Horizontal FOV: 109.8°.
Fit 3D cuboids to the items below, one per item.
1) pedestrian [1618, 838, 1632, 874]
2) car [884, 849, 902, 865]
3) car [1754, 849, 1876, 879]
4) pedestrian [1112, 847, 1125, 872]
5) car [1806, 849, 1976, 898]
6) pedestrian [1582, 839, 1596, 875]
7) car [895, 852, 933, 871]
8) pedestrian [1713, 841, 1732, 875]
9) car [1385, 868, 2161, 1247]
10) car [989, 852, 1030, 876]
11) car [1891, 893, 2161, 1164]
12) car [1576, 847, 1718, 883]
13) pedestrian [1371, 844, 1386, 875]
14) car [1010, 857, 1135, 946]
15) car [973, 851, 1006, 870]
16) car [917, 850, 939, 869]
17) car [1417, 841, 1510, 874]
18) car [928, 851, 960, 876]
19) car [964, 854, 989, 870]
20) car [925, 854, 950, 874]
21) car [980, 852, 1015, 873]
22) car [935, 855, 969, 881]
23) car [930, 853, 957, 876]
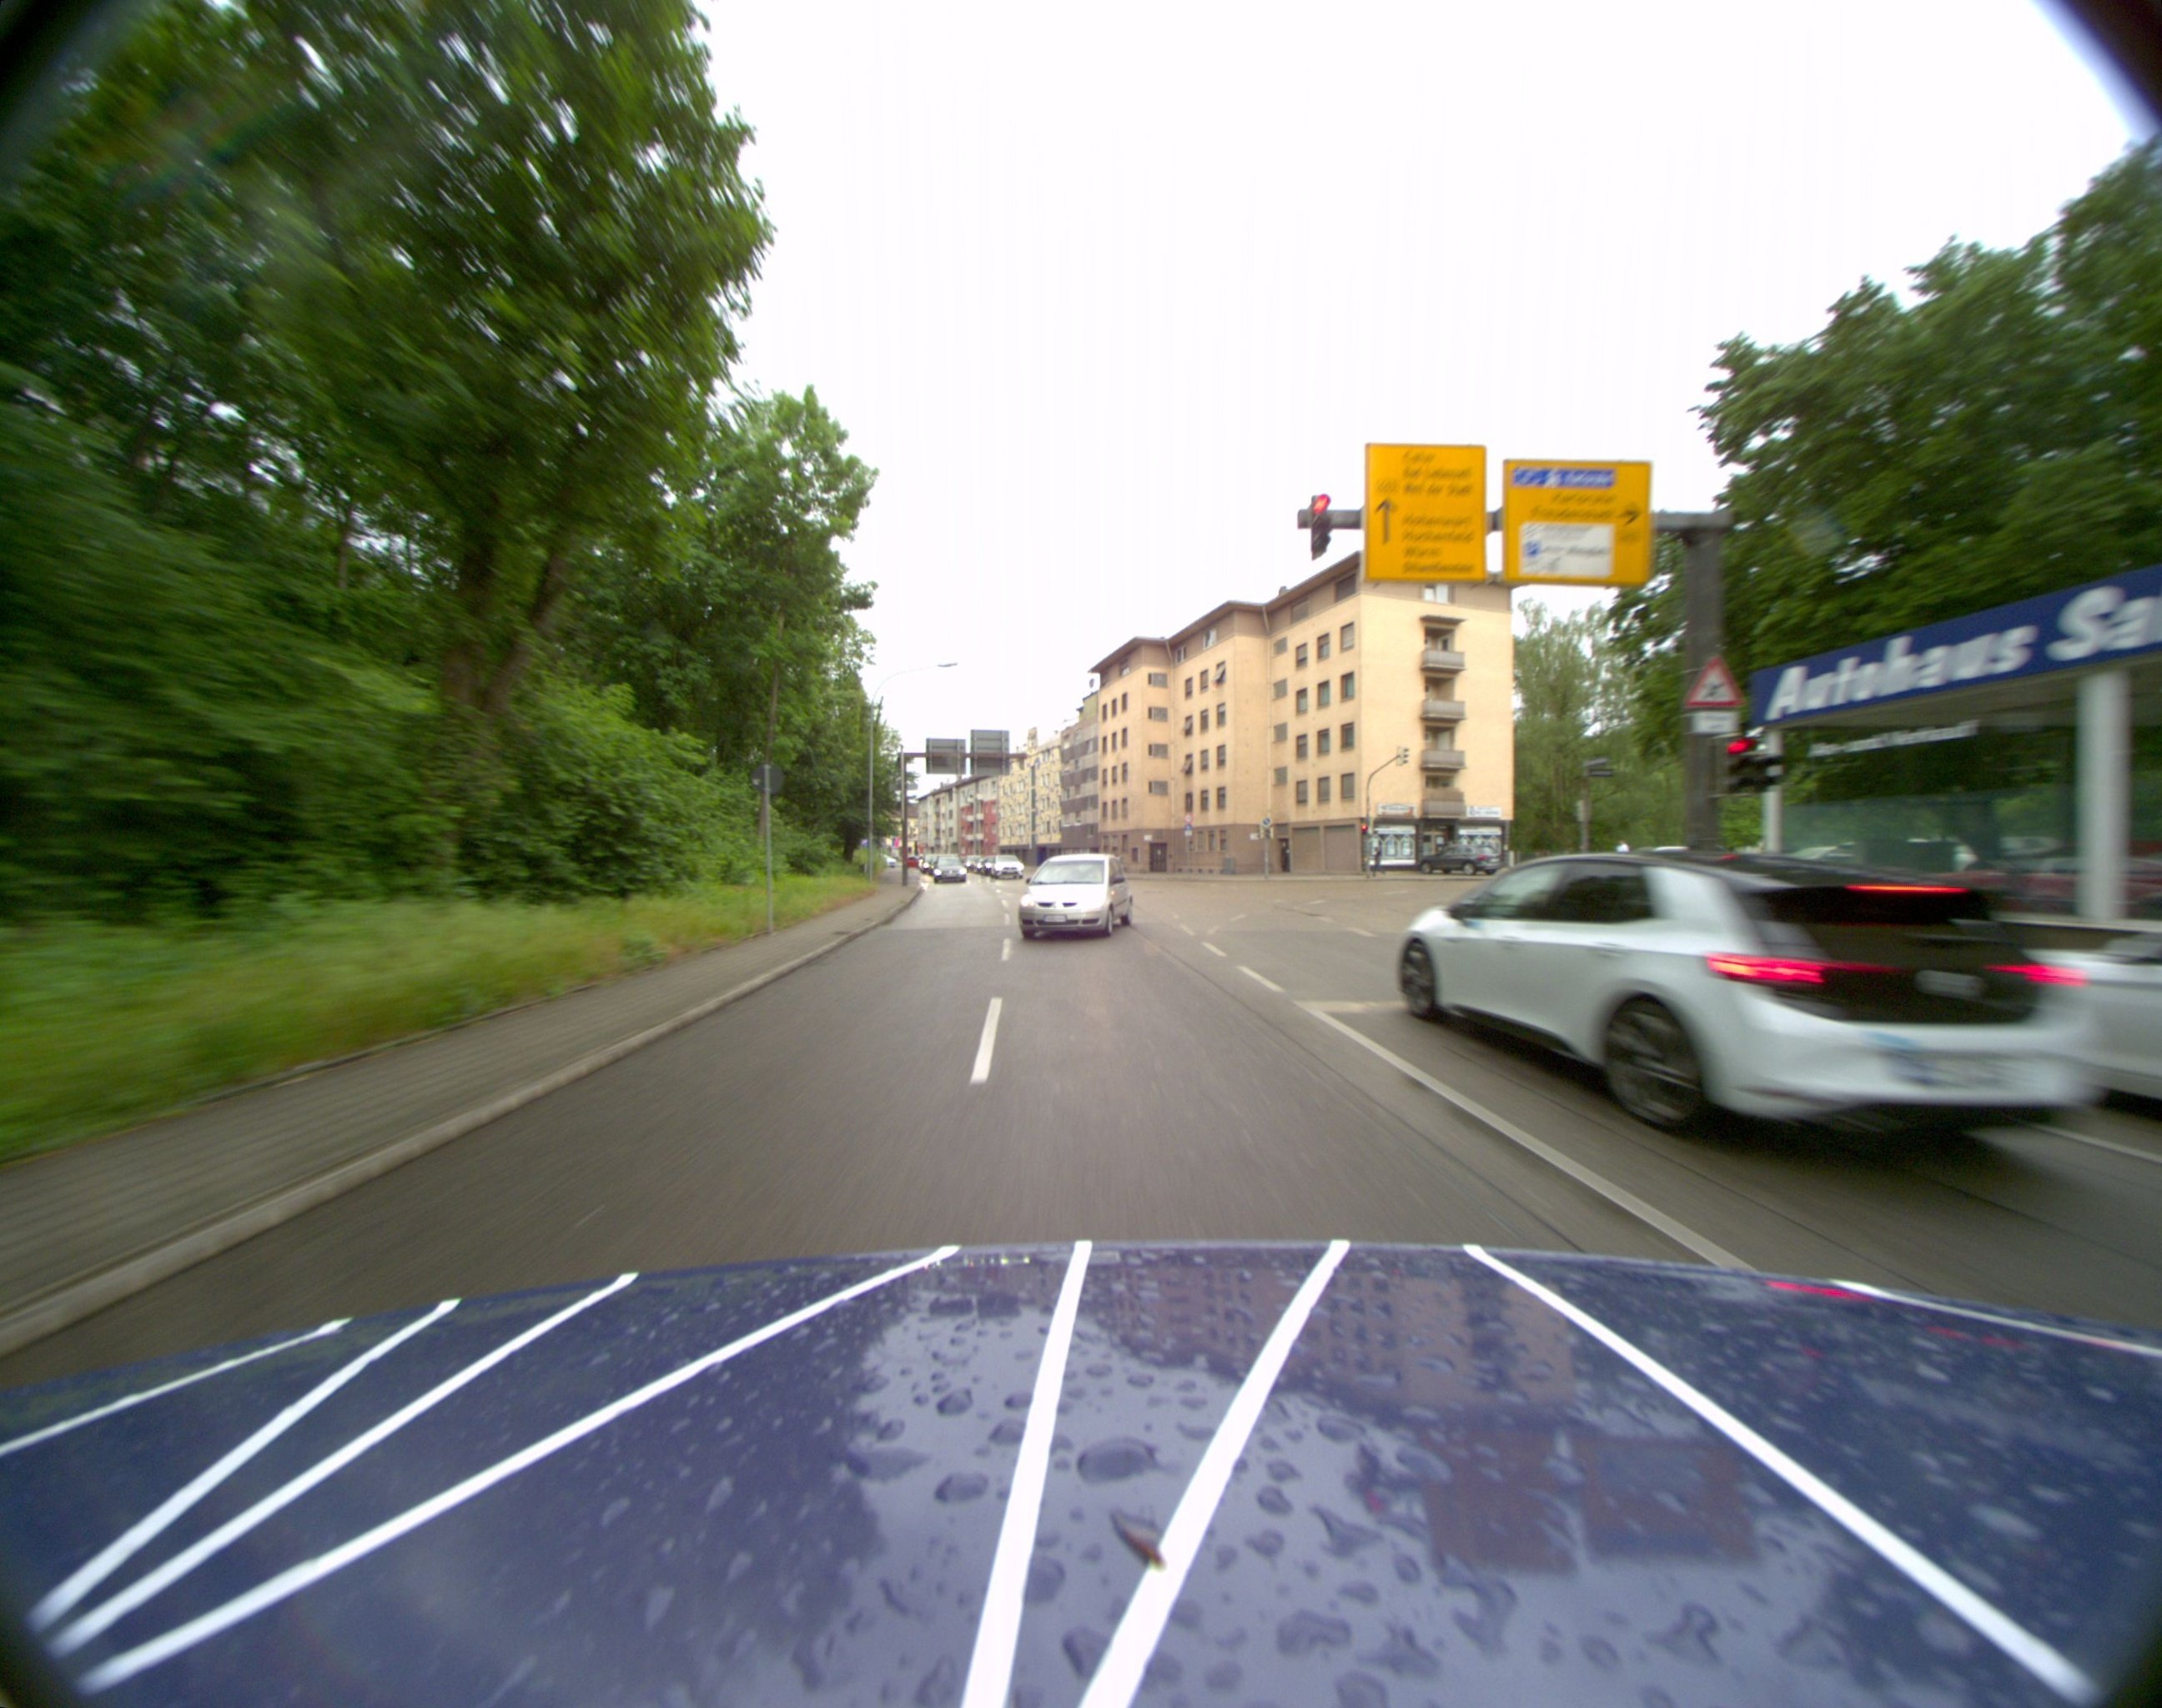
[{"bbox_3d":[28.027,0.101,39.143,0.508,1.793,0.498,0,1,26],"label":"pedestrian"},{"bbox_3d":[-21.825,0.333,88.158,1.912,1.701,4.889,-1,0,-15],"label":"car"},{"bbox_3d":[33.848,0.448,35.131,3.996,1.302,1.653,-1,1,2],"label":"car"},{"bbox_3d":[3.015,0.426,60.956,0.811,2.002,0.857,-1,0,-17],"label":"pedestrian"},{"bbox_3d":[28.713,0.651,26.995,4.473,1.661,1.843,0,1,-7],"label":"car"},{"bbox_3d":[26.035,0.148,38.962,0.558,1.793,0.477,0,1,40],"label":"pedestrian"},{"bbox_3d":[-18.364,0.842,83.368,2.004,2.002,4.474,-1,1,-44],"label":"car"},{"bbox_3d":[31.930,0.194,37.825,0.701,1.637,0.661,0,1,42],"label":"pedestrian"},{"bbox_3d":[3.919,0.908,5.325,1.789,1.487,4.215,1,0,-1],"label":"car"},{"bbox_3d":[-4.649,0.607,48.745,1.880,1.469,4.548,0,0,-16],"label":"car"},{"bbox_3d":[6.931,1.040,3.675,1.662,1.447,3.999,1,0,-2],"label":"car"},{"bbox_3d":[23.842,0.444,32.119,4.503,1.454,2.000,-1,1,0],"label":"car"},{"bbox_3d":[15.805,0.295,40.382,0.581,1.629,0.618,0,1,5],"label":"pedestrian"},{"bbox_3d":[-0.028,0.843,15.226,1.751,1.510,4.003,-2,0,10],"label":"car"},{"bbox_3d":[-7.441,0.511,61.352,2.001,1.469,4.613,0,0,-16],"label":"car"},{"bbox_3d":[-14.310,0.497,70.824,1.683,1.646,3.994,0,0,-16],"label":"car"},{"bbox_3d":[20.531,0.130,40.965,1.762,1.638,4.272,-1,2,-26],"label":"car"},{"bbox_3d":[-9.345,0.620,51.662,2.001,1.607,4.614,-1,0,-12],"label":"car"},{"bbox_3d":[-9.227,0.659,66.709,1.713,1.386,3.995,-1,0,-14],"label":"car"},{"bbox_3d":[-12.192,0.830,64.340,1.683,1.646,3.994,0,0,-16],"label":"car"},{"bbox_3d":[-6.242,0.619,56.202,1.921,1.469,4.613,0,0,-15],"label":"car"},{"bbox_3d":[-7.578,0.784,44.351,1.820,1.400,4.227,-1,0,-11],"label":"car"},{"bbox_3d":[-10.558,0.775,58.167,1.683,1.646,3.994,0,0,-16],"label":"car"}]
